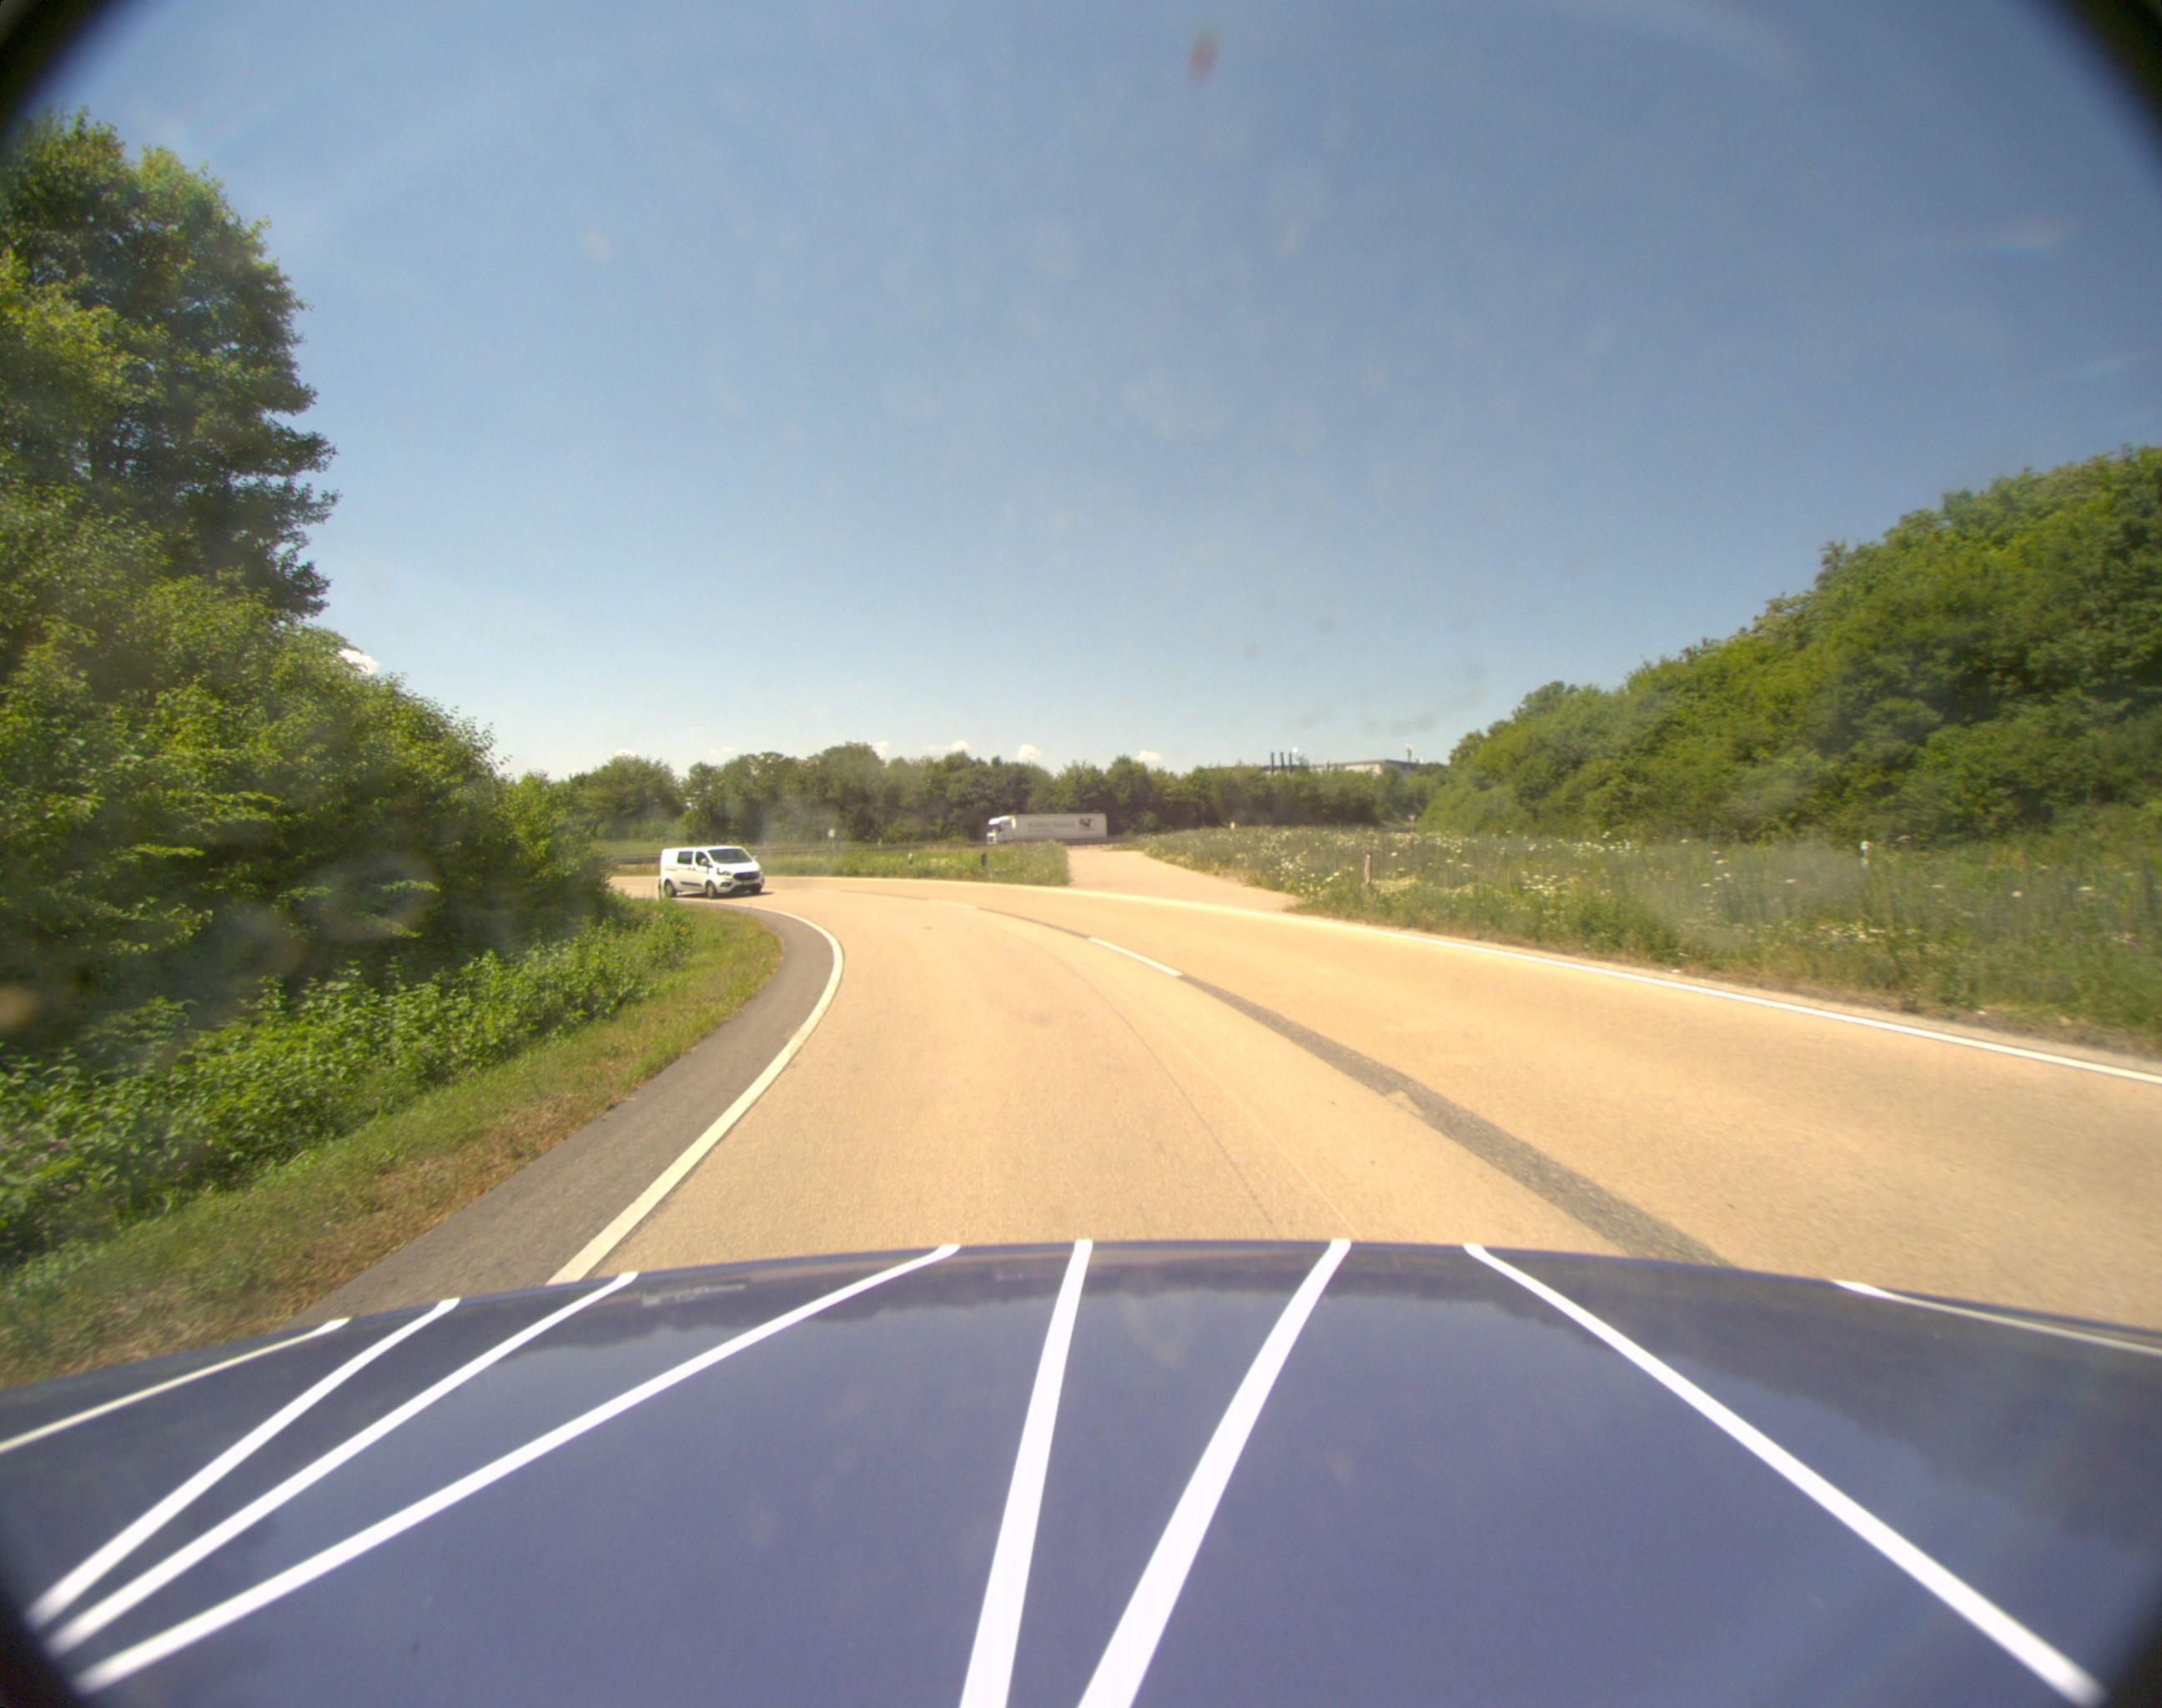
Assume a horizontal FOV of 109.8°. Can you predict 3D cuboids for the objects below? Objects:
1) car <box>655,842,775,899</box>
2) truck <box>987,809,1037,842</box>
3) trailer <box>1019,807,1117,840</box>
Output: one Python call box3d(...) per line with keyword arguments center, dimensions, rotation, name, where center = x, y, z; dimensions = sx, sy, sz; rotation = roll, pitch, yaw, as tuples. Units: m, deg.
box3d(center=(-14.725, 0.621, 30.494), dimensions=(5.026, 2.003, 2.067), rotation=(0, 4, 36), name="car")
box3d(center=(-8.711, -3.656, 96.261), dimensions=(5.426, 3.918, 2.913), rotation=(-3, 3, -32), name="truck")
box3d(center=(-1.576, -4.063, 100.734), dimensions=(13.295, 3.918, 2.913), rotation=(-3, 3, -32), name="trailer")
